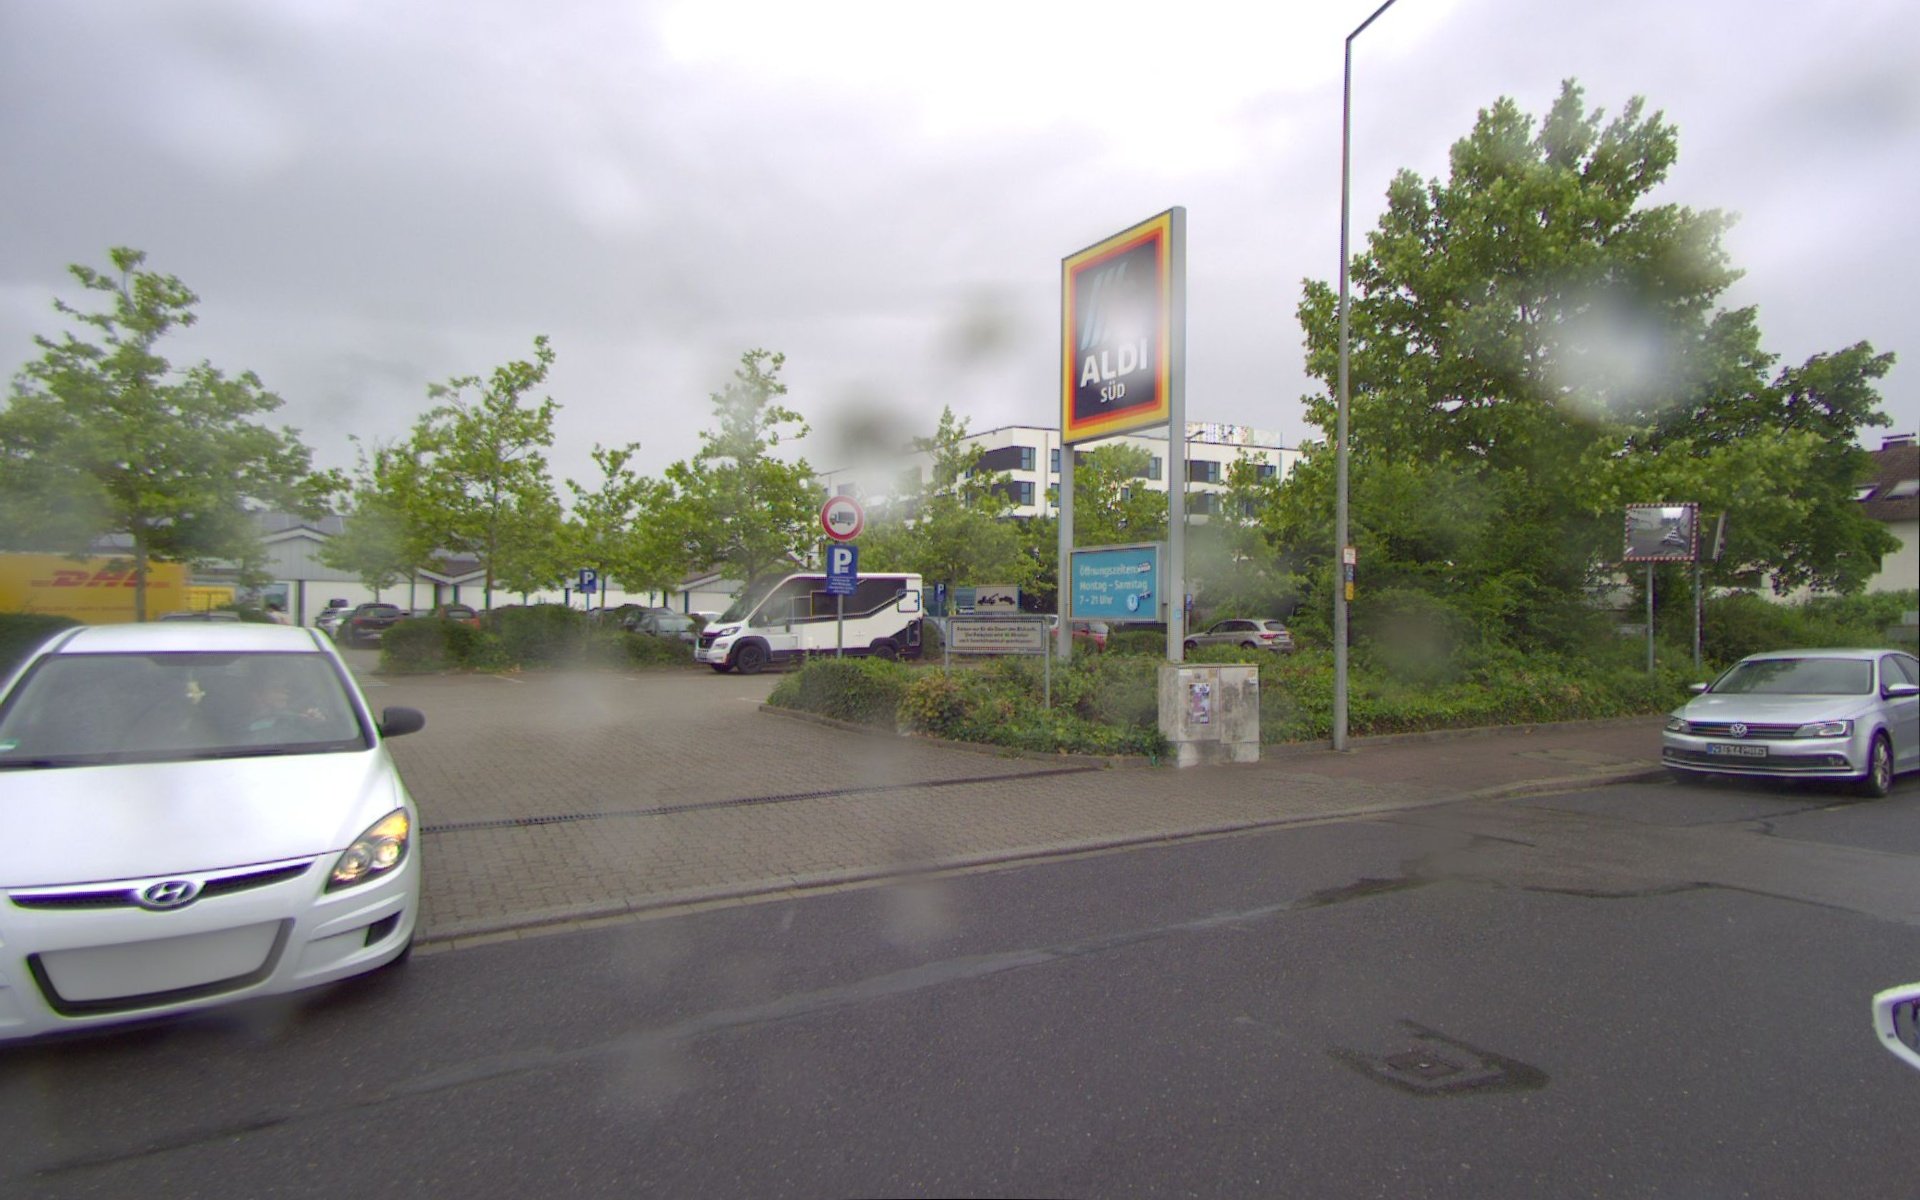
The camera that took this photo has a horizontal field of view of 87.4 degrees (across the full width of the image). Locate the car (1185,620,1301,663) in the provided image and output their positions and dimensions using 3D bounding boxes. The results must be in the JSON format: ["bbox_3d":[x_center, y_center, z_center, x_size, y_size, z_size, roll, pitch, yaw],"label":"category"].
[{"bbox_3d":[10.700,1.541,38.175,1.978,1.519,3.966,1,-1,-32],"label":"car"}]

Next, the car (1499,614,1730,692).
[{"bbox_3d":[14.610,1.110,22.614,1.890,1.561,3.964,1,-1,-33],"label":"car"}]

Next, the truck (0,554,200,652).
[{"bbox_3d":[-25.382,0.109,28.140,6.327,2.636,1.982,1,-1,-33],"label":"truck"}]

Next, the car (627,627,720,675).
[{"bbox_3d":[-8.876,1.519,30.894,1.738,1.320,3.966,1,-1,-32],"label":"car"}]

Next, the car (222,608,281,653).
[{"bbox_3d":[-33.982,1.434,48.277,1.977,2.040,3.966,1,-1,-31],"label":"car"}]

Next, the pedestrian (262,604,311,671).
[{"bbox_3d":[-16.950,0.938,25.285,0.765,1.656,0.767,0,-1,35],"label":"pedestrian"}]

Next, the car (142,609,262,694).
[{"bbox_3d":[-14.816,0.943,19.728,1.696,1.479,4.161,1,-2,-36],"label":"car"}]

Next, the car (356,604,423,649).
[{"bbox_3d":[-20.889,0.942,36.685,1.978,1.542,3.966,1,-1,-32],"label":"car"}]

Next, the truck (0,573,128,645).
[{"bbox_3d":[-29.260,0.270,30.425,6.077,2.122,1.979,1,-1,-37],"label":"truck"}]

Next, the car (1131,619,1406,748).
[{"bbox_3d":[4.333,1.098,14.570,1.693,1.479,3.550,1,1,-32],"label":"car"}]

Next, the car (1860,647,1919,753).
[{"bbox_3d":[14.350,1.338,13.941,3.794,1.385,1.697,1,-3,-31],"label":"car"}]

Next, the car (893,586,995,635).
[{"bbox_3d":[-0.751,0.547,49.642,4.763,2.327,1.981,1,-1,-34],"label":"car"}]

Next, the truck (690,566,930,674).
[{"bbox_3d":[-3.999,0.575,27.626,6.333,2.692,1.980,1,-1,-35],"label":"truck"}]

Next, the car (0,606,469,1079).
[{"bbox_3d":[-3.910,0.809,5.248,1.696,1.479,4.160,1,0,-36],"label":"car"}]

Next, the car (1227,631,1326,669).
[{"bbox_3d":[14.305,2.235,45.536,1.978,1.549,3.966,1,-1,-32],"label":"car"}]

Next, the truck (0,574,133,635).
[{"bbox_3d":[-33.025,0.178,35.216,6.077,2.087,1.979,1,-1,-37],"label":"truck"}]

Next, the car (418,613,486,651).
[{"bbox_3d":[-19.335,1.180,38.155,1.978,1.363,3.966,1,-1,-32],"label":"car"}]

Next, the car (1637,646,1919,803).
[{"bbox_3d":[9.448,1.212,11.001,4.551,1.385,1.696,1,-3,-33],"label":"car"}]

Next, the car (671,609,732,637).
[{"bbox_3d":[-13.332,1.167,51.687,1.978,1.363,3.966,1,-1,-32],"label":"car"}]

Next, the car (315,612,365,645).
[{"bbox_3d":[-30.516,1.378,49.468,1.978,1.542,3.966,1,-1,-32],"label":"car"}]

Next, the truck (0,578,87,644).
[{"bbox_3d":[-31.816,0.334,31.817,6.077,2.087,1.979,1,-1,-37],"label":"truck"}]
